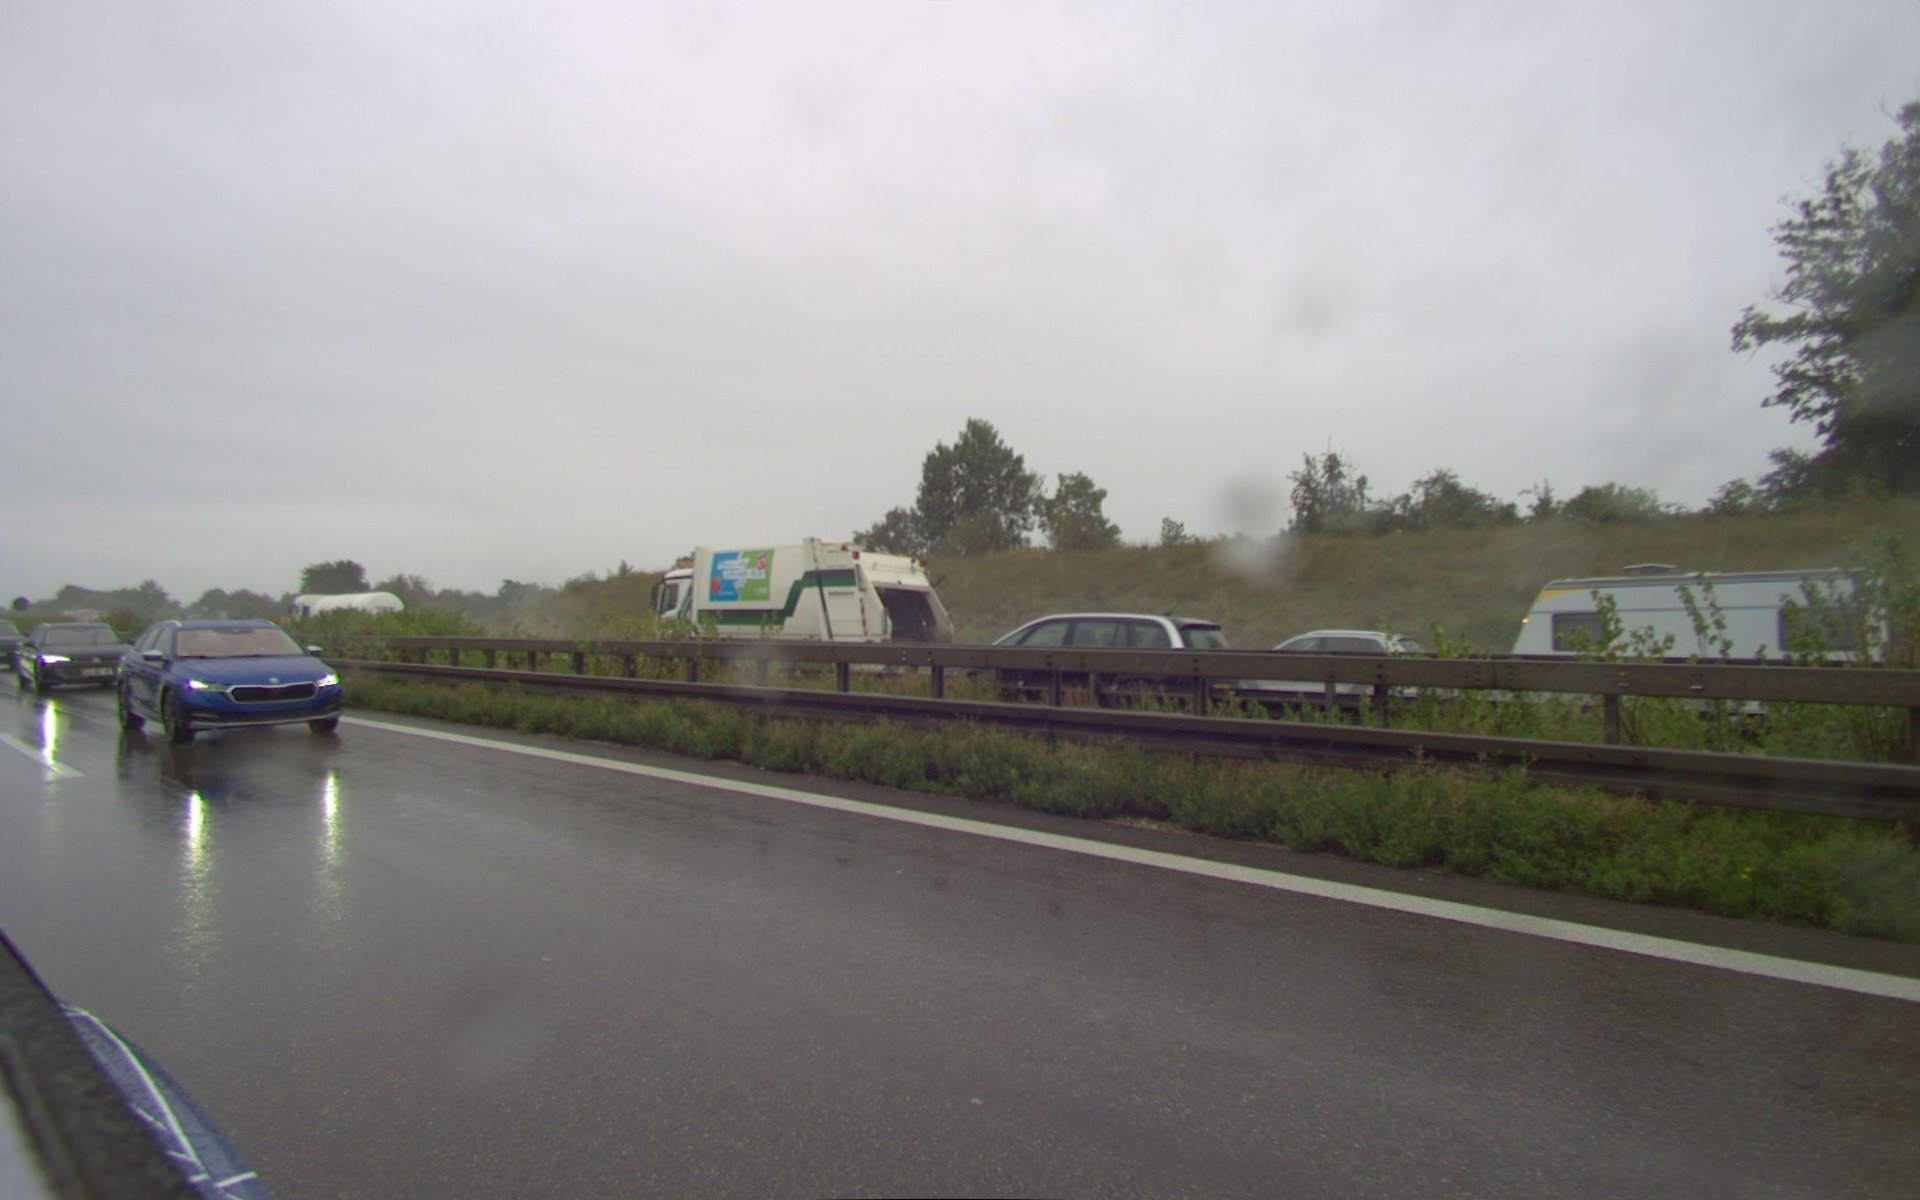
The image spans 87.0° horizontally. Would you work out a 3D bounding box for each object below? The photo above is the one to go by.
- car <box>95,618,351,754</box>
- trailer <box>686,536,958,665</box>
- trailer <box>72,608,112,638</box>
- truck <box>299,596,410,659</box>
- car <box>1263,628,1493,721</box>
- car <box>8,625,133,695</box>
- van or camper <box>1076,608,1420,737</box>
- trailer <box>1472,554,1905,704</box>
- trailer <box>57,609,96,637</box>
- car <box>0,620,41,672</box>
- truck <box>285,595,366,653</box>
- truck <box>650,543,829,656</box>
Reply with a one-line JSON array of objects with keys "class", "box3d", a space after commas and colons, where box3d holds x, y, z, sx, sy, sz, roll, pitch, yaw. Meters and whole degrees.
[{"class": "car", "box3d": [-9.809, 1.008, 13.328, 4.509, 1.487, 1.768, -2, -1, 41]}, {"class": "trailer", "box3d": [-3.615, 0.041, 24.992, 7.322, 2.740, 2.455, 0, -2, 42]}, {"class": "trailer", "box3d": [-92.735, 2.426, 108.086, 8.866, 3.105, 1.973, -2, -1, 41]}, {"class": "truck", "box3d": [-34.467, 1.496, 57.421, 9.344, 3.323, 2.528, 0, -2, 41]}, {"class": "car", "box3d": [7.846, 1.349, 19.164, 3.659, 1.549, 1.657, -2, -2, 41]}, {"class": "car", "box3d": [-20.470, 1.313, 23.237, 4.368, 1.447, 1.592, -2, -1, 41]}, {"class": "van or camper", "box3d": [3.685, 0.865, 13.224, 3.848, 1.423, 1.974, -2, -2, 40]}, {"class": "trailer", "box3d": [11.363, 0.415, 16.172, 5.347, 2.029, 2.070, 0, -2, 40]}, {"class": "trailer", "box3d": [-99.677, 2.613, 114.116, 9.549, 3.105, 1.973, -2, -1, 41]}, {"class": "car", "box3d": [-31.619, 1.489, 33.044, 4.266, 1.644, 1.865, -2, -1, 41]}, {"class": "truck", "box3d": [-37.867, 1.449, 60.339, 5.194, 3.305, 2.515, 0, -3, 40]}, {"class": "truck", "box3d": [-5.949, 0.026, 27.096, 4.527, 2.740, 2.455, 0, -2, 42]}]
